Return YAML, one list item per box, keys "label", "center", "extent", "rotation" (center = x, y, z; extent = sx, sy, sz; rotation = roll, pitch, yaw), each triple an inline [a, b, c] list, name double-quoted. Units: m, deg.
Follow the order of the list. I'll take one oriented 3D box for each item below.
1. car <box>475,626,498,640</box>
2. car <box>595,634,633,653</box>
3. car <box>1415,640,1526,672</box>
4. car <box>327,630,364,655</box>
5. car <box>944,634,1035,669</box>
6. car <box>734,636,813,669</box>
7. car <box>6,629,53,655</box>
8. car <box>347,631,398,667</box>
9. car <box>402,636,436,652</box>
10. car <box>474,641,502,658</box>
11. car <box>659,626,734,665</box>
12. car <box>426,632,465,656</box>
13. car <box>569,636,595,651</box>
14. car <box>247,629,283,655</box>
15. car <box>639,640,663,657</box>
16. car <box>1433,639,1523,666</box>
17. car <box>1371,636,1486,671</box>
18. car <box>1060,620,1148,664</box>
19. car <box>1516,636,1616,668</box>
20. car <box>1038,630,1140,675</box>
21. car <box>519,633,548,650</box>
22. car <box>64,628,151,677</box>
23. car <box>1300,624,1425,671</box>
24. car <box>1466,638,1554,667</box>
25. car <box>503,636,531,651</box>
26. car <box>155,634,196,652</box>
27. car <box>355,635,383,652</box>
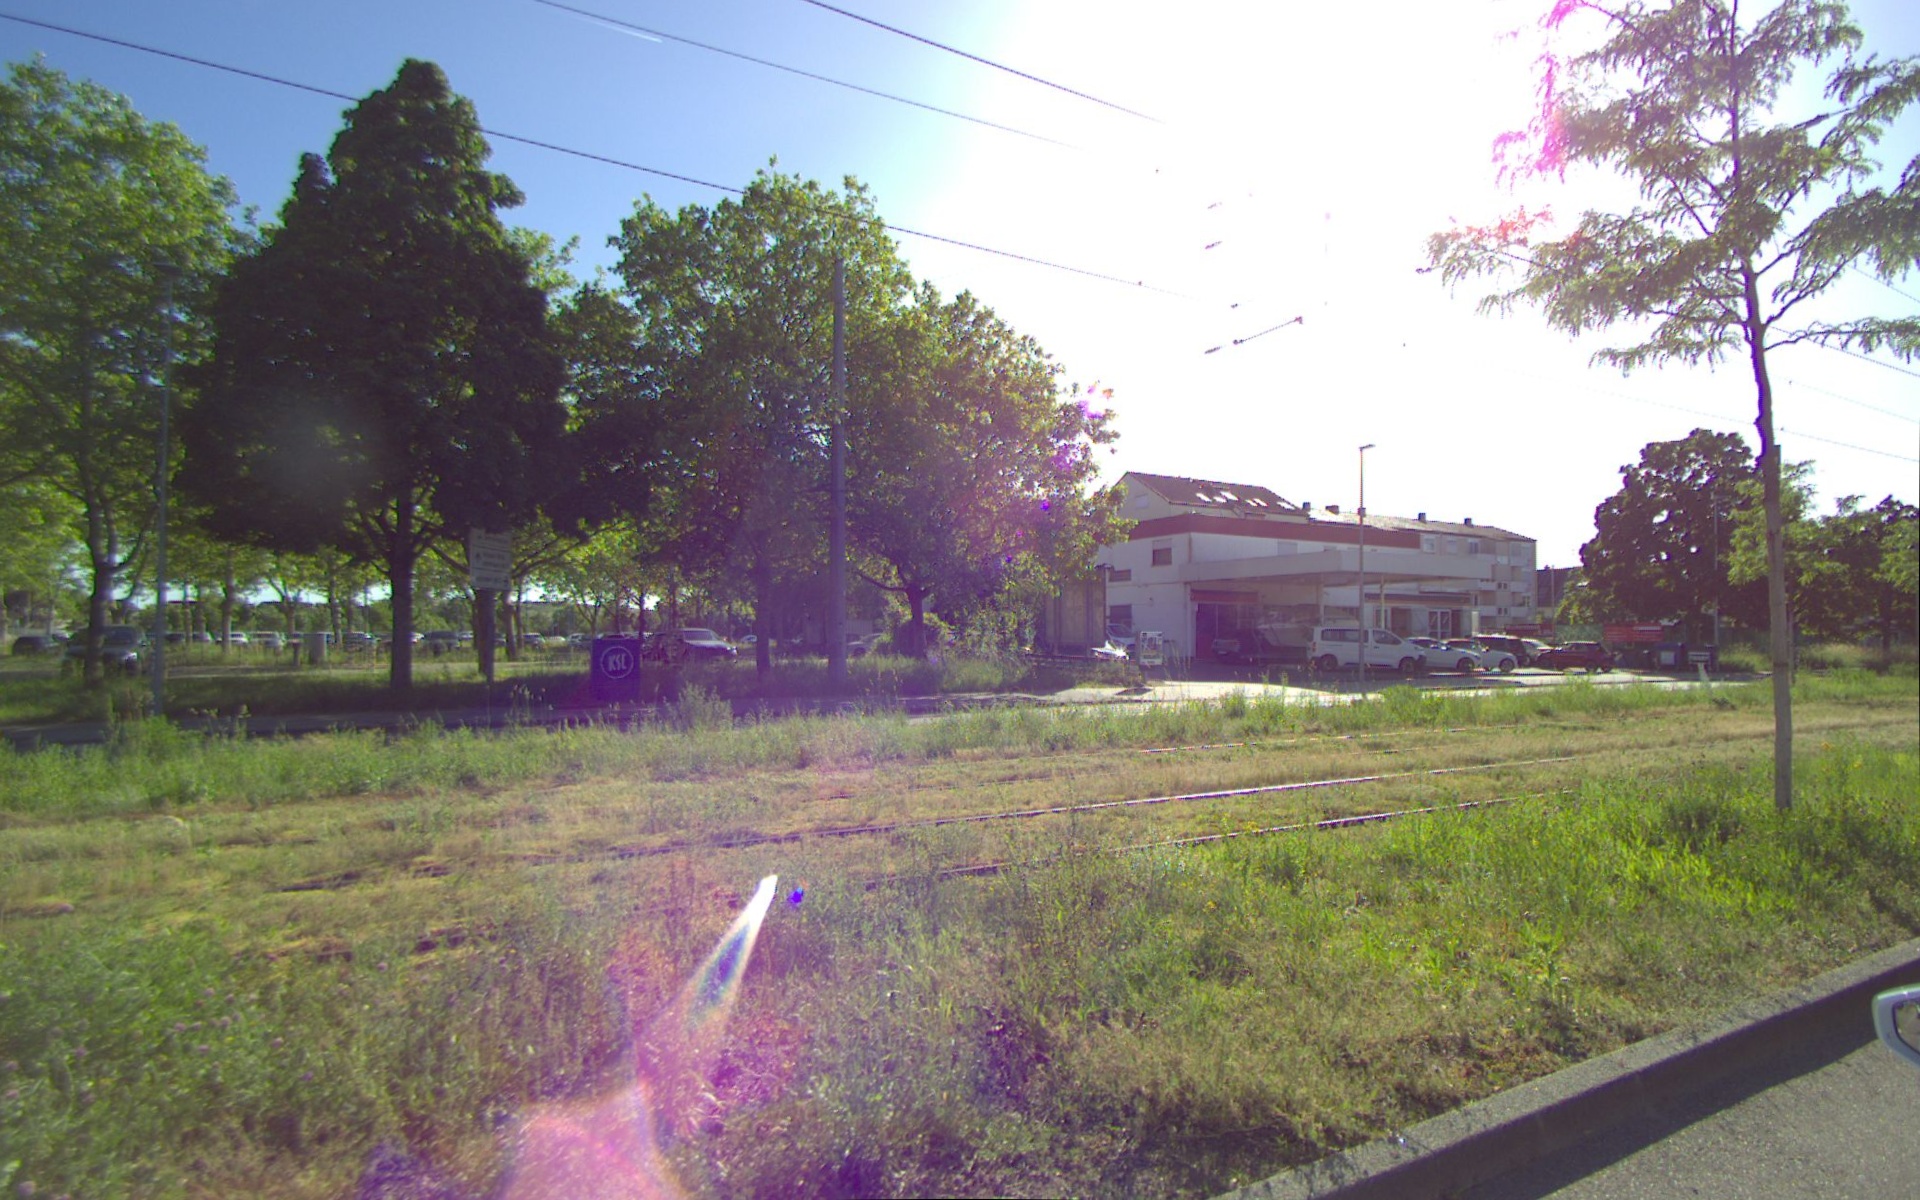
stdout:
- label: "car"
  center: [-50.621, 3.521, 107.369]
  extent: [1.649, 1.451, 3.941]
  rotation: [2, -2, -34]
- label: "car"
  center: [-27.340, 3.435, 79.323]
  extent: [1.829, 1.451, 3.941]
  rotation: [2, -2, -34]
- label: "car"
  center: [24.321, 2.654, 47.957]
  extent: [4.383, 1.490, 1.792]
  rotation: [0, -2, 0]
- label: "car"
  center: [-43.087, 2.966, 70.446]
  extent: [1.814, 1.690, 3.958]
  rotation: [2, -2, -37]
- label: "car"
  center: [1.419, 2.428, 47.397]
  extent: [4.036, 1.565, 1.572]
  rotation: [1, -2, -27]
- label: "car"
  center: [-7.299, 2.026, 39.066]
  extent: [1.648, 1.182, 3.942]
  rotation: [2, -2, -33]
- label: "car"
  center: [-61.162, 2.754, 66.092]
  extent: [1.814, 1.627, 3.958]
  rotation: [2, -2, -37]
- label: "car"
  center: [-25.570, 2.093, 43.630]
  extent: [1.649, 1.451, 3.941]
  rotation: [2, -2, -34]
- label: "car"
  center: [-55.520, 4.518, 103.238]
  extent: [1.956, 1.569, 4.421]
  rotation: [1, -2, -13]
- label: "car"
  center: [-42.124, 4.418, 89.560]
  extent: [1.649, 1.451, 3.941]
  rotation: [2, -2, -34]
- label: "car"
  center: [-10.348, 1.774, 39.347]
  extent: [1.649, 1.451, 3.941]
  rotation: [1, -3, -34]
- label: "car"
  center: [-32.843, 2.762, 64.080]
  extent: [1.728, 1.468, 3.941]
  rotation: [2, -2, -34]
- label: "car"
  center: [-40.473, 4.710, 107.592]
  extent: [1.956, 1.569, 4.421]
  rotation: [1, -2, -13]
- label: "car"
  center: [-47.009, 2.800, 67.918]
  extent: [1.814, 1.690, 3.958]
  rotation: [2, -2, -37]
- label: "car"
  center: [-29.570, 4.624, 95.995]
  extent: [1.805, 1.627, 3.978]
  rotation: [1, -2, -23]
- label: "car"
  center: [28.511, 2.875, 55.391]
  extent: [1.772, 1.463, 4.050]
  rotation: [1, -3, -31]
- label: "car"
  center: [21.136, 2.400, 45.490]
  extent: [4.380, 1.548, 1.793]
  rotation: [-1, -2, 8]
- label: "car"
  center: [7.293, 2.162, 51.426]
  extent: [1.997, 2.118, 4.699]
  rotation: [1, -3, -31]
- label: "car"
  center: [31.189, 2.663, 51.768]
  extent: [1.772, 1.589, 4.050]
  rotation: [1, -3, -31]
- label: "car"
  center: [4.988, 2.029, 39.255]
  extent: [1.713, 1.545, 3.940]
  rotation: [5, -3, -34]
- label: "car"
  center: [-38.958, 3.765, 91.733]
  extent: [1.649, 1.451, 3.941]
  rotation: [2, -2, -34]
- label: "car"
  center: [-25.847, 1.570, 30.404]
  extent: [1.860, 1.400, 3.951]
  rotation: [2, -3, -42]
- label: "car"
  center: [17.272, 2.051, 43.293]
  extent: [4.689, 2.000, 1.862]
  rotation: [-1, -2, 8]
- label: "car"
  center: [31.063, 2.951, 56.808]
  extent: [1.772, 1.589, 4.050]
  rotation: [1, -3, -31]
- label: "car"
  center: [-47.904, 4.727, 108.781]
  extent: [1.956, 1.569, 4.421]
  rotation: [1, -2, -13]
- label: "car"
  center: [-71.038, 3.900, 90.986]
  extent: [1.950, 1.569, 4.403]
  rotation: [1, -3, -26]
- label: "car"
  center: [-57.956, 4.268, 98.525]
  extent: [1.805, 1.627, 3.978]
  rotation: [1, -2, -23]
